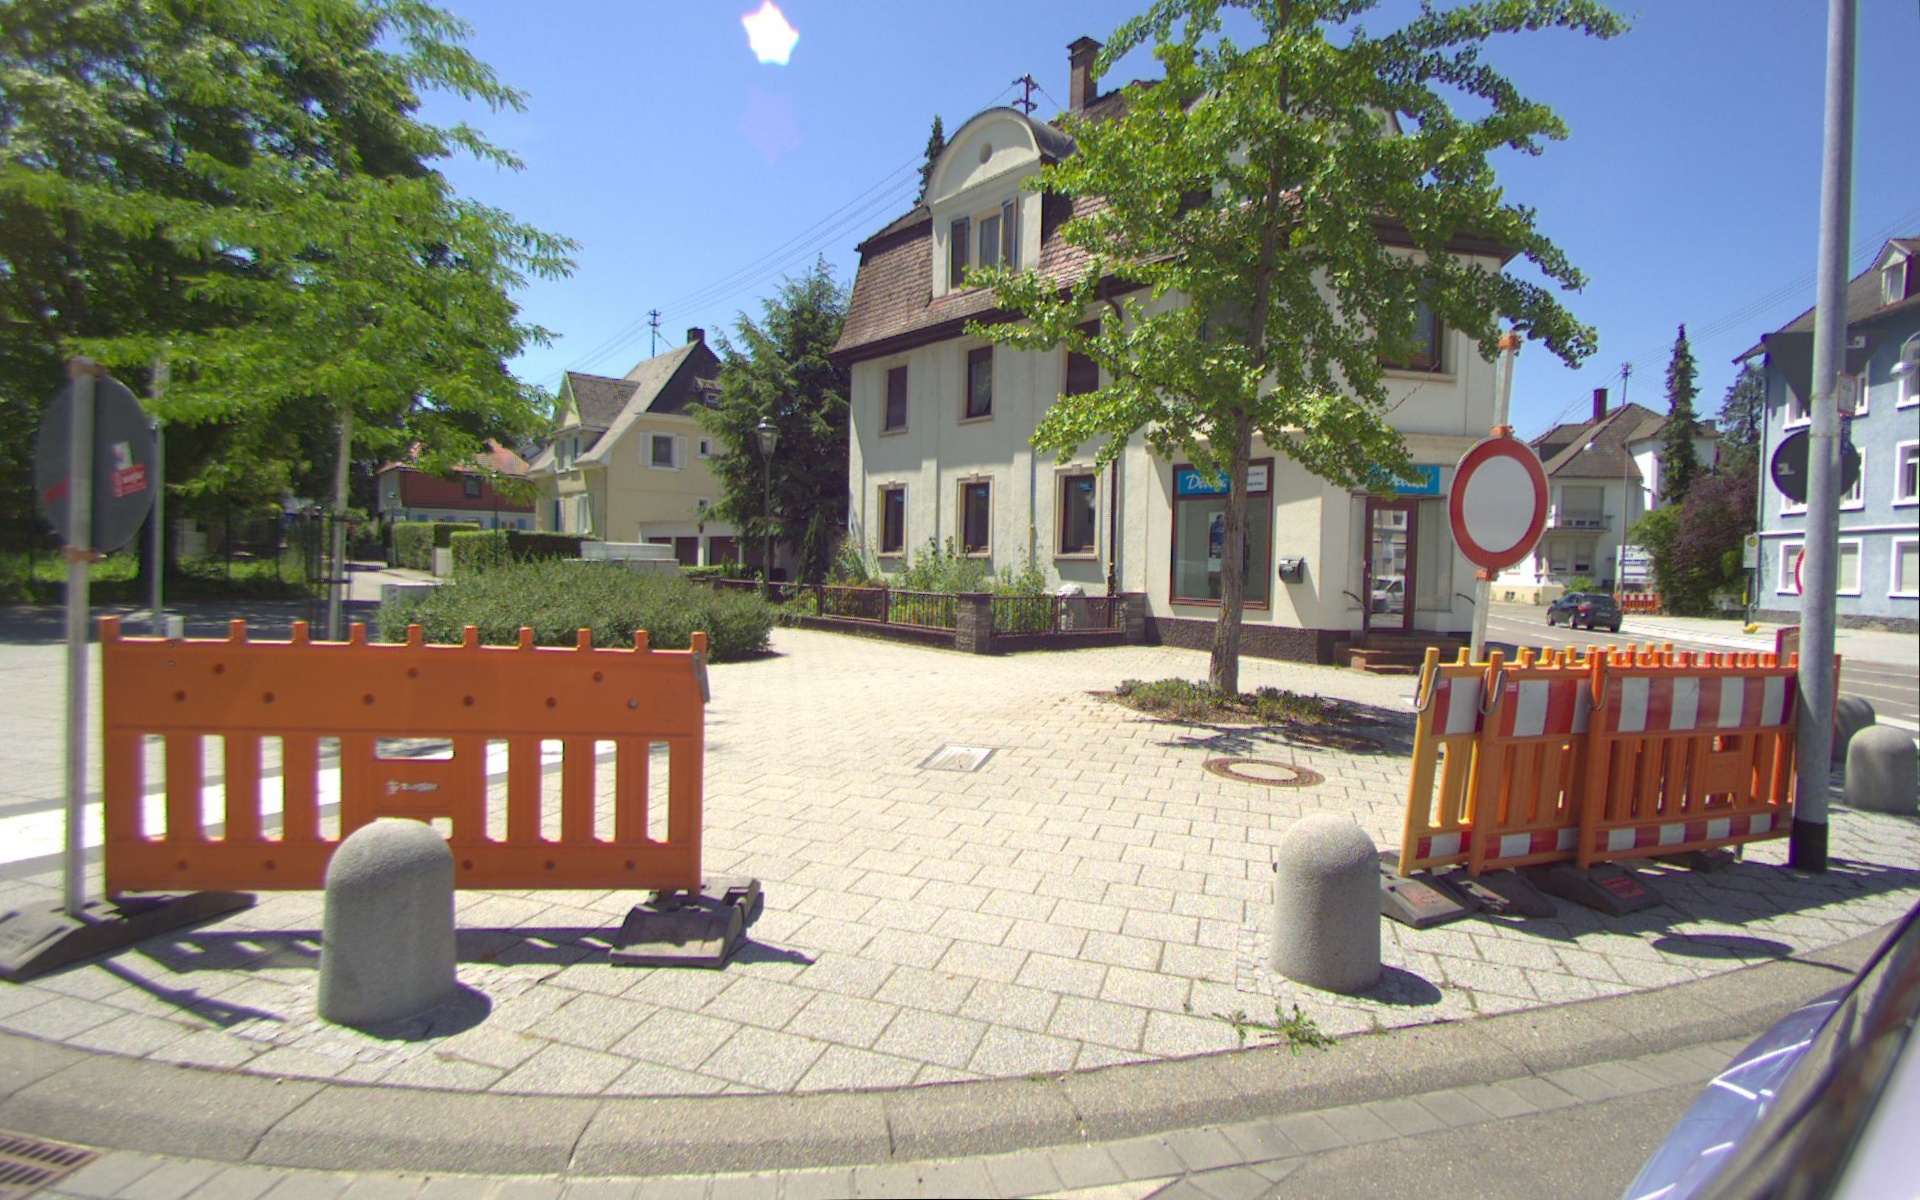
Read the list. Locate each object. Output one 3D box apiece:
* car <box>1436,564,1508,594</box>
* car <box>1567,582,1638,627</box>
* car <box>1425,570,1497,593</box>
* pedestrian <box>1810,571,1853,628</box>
[{"bbox_3d":[37.783,-1.571,74.751,4.285,1.900,1.850,3,2,2],"label":"car"},{"bbox_3d":[24.752,0.132,39.109,1.647,1.469,3.991,4,3,24],"label":"car"},{"bbox_3d":[38.152,-1.440,77.171,4.415,1.513,1.970,4,2,10],"label":"car"},{"bbox_3d":[28.797,-0.025,33.451,0.745,1.871,0.770,-2,1,7],"label":"pedestrian"}]
